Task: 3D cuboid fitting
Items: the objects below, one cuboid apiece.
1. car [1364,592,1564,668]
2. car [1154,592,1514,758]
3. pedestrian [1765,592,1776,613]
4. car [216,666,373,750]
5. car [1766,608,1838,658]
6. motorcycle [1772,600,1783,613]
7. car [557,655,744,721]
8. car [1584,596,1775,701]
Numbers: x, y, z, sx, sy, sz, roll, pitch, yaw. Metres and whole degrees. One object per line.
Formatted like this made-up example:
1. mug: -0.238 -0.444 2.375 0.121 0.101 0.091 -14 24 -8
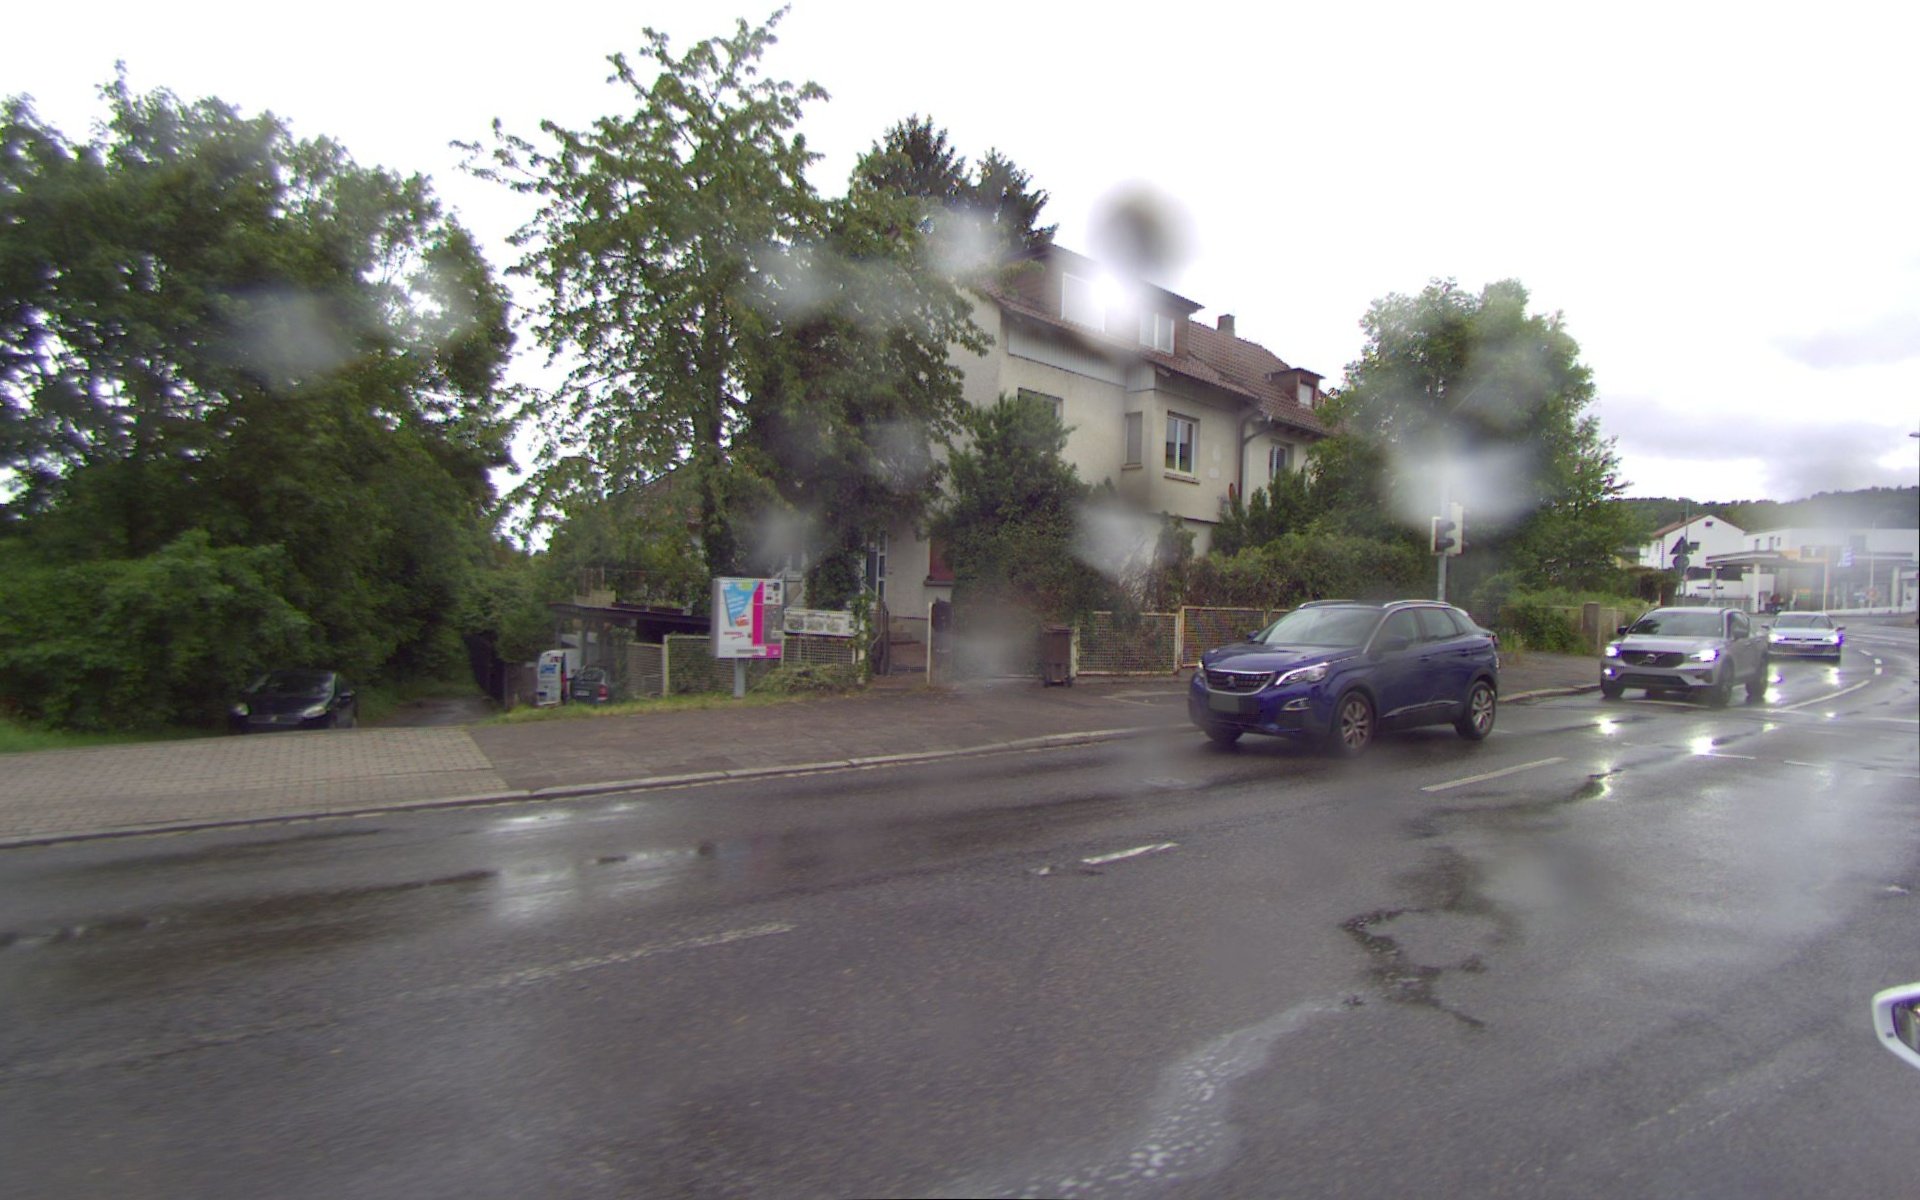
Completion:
1. car: 12.336 0.672 24.736 3.945 1.413 1.921 7 4 44
2. car: 4.435 0.749 11.637 4.405 1.574 1.851 1 -1 -37
3. pedestrian: 68.484 0.208 84.922 0.601 1.678 0.584 1 0 30
4. car: -13.291 2.091 20.328 1.817 1.375 3.980 1 -2 -22
5. car: 27.151 1.048 32.422 1.656 1.469 4.666 1 -1 40
6. motorcycle: 68.810 0.525 84.578 0.455 1.069 1.388 1 0 29
7. car: -7.385 2.048 24.238 1.816 1.375 3.982 -1 -2 40
8. car: 13.271 0.848 18.446 4.197 1.700 1.867 2 -1 -40
